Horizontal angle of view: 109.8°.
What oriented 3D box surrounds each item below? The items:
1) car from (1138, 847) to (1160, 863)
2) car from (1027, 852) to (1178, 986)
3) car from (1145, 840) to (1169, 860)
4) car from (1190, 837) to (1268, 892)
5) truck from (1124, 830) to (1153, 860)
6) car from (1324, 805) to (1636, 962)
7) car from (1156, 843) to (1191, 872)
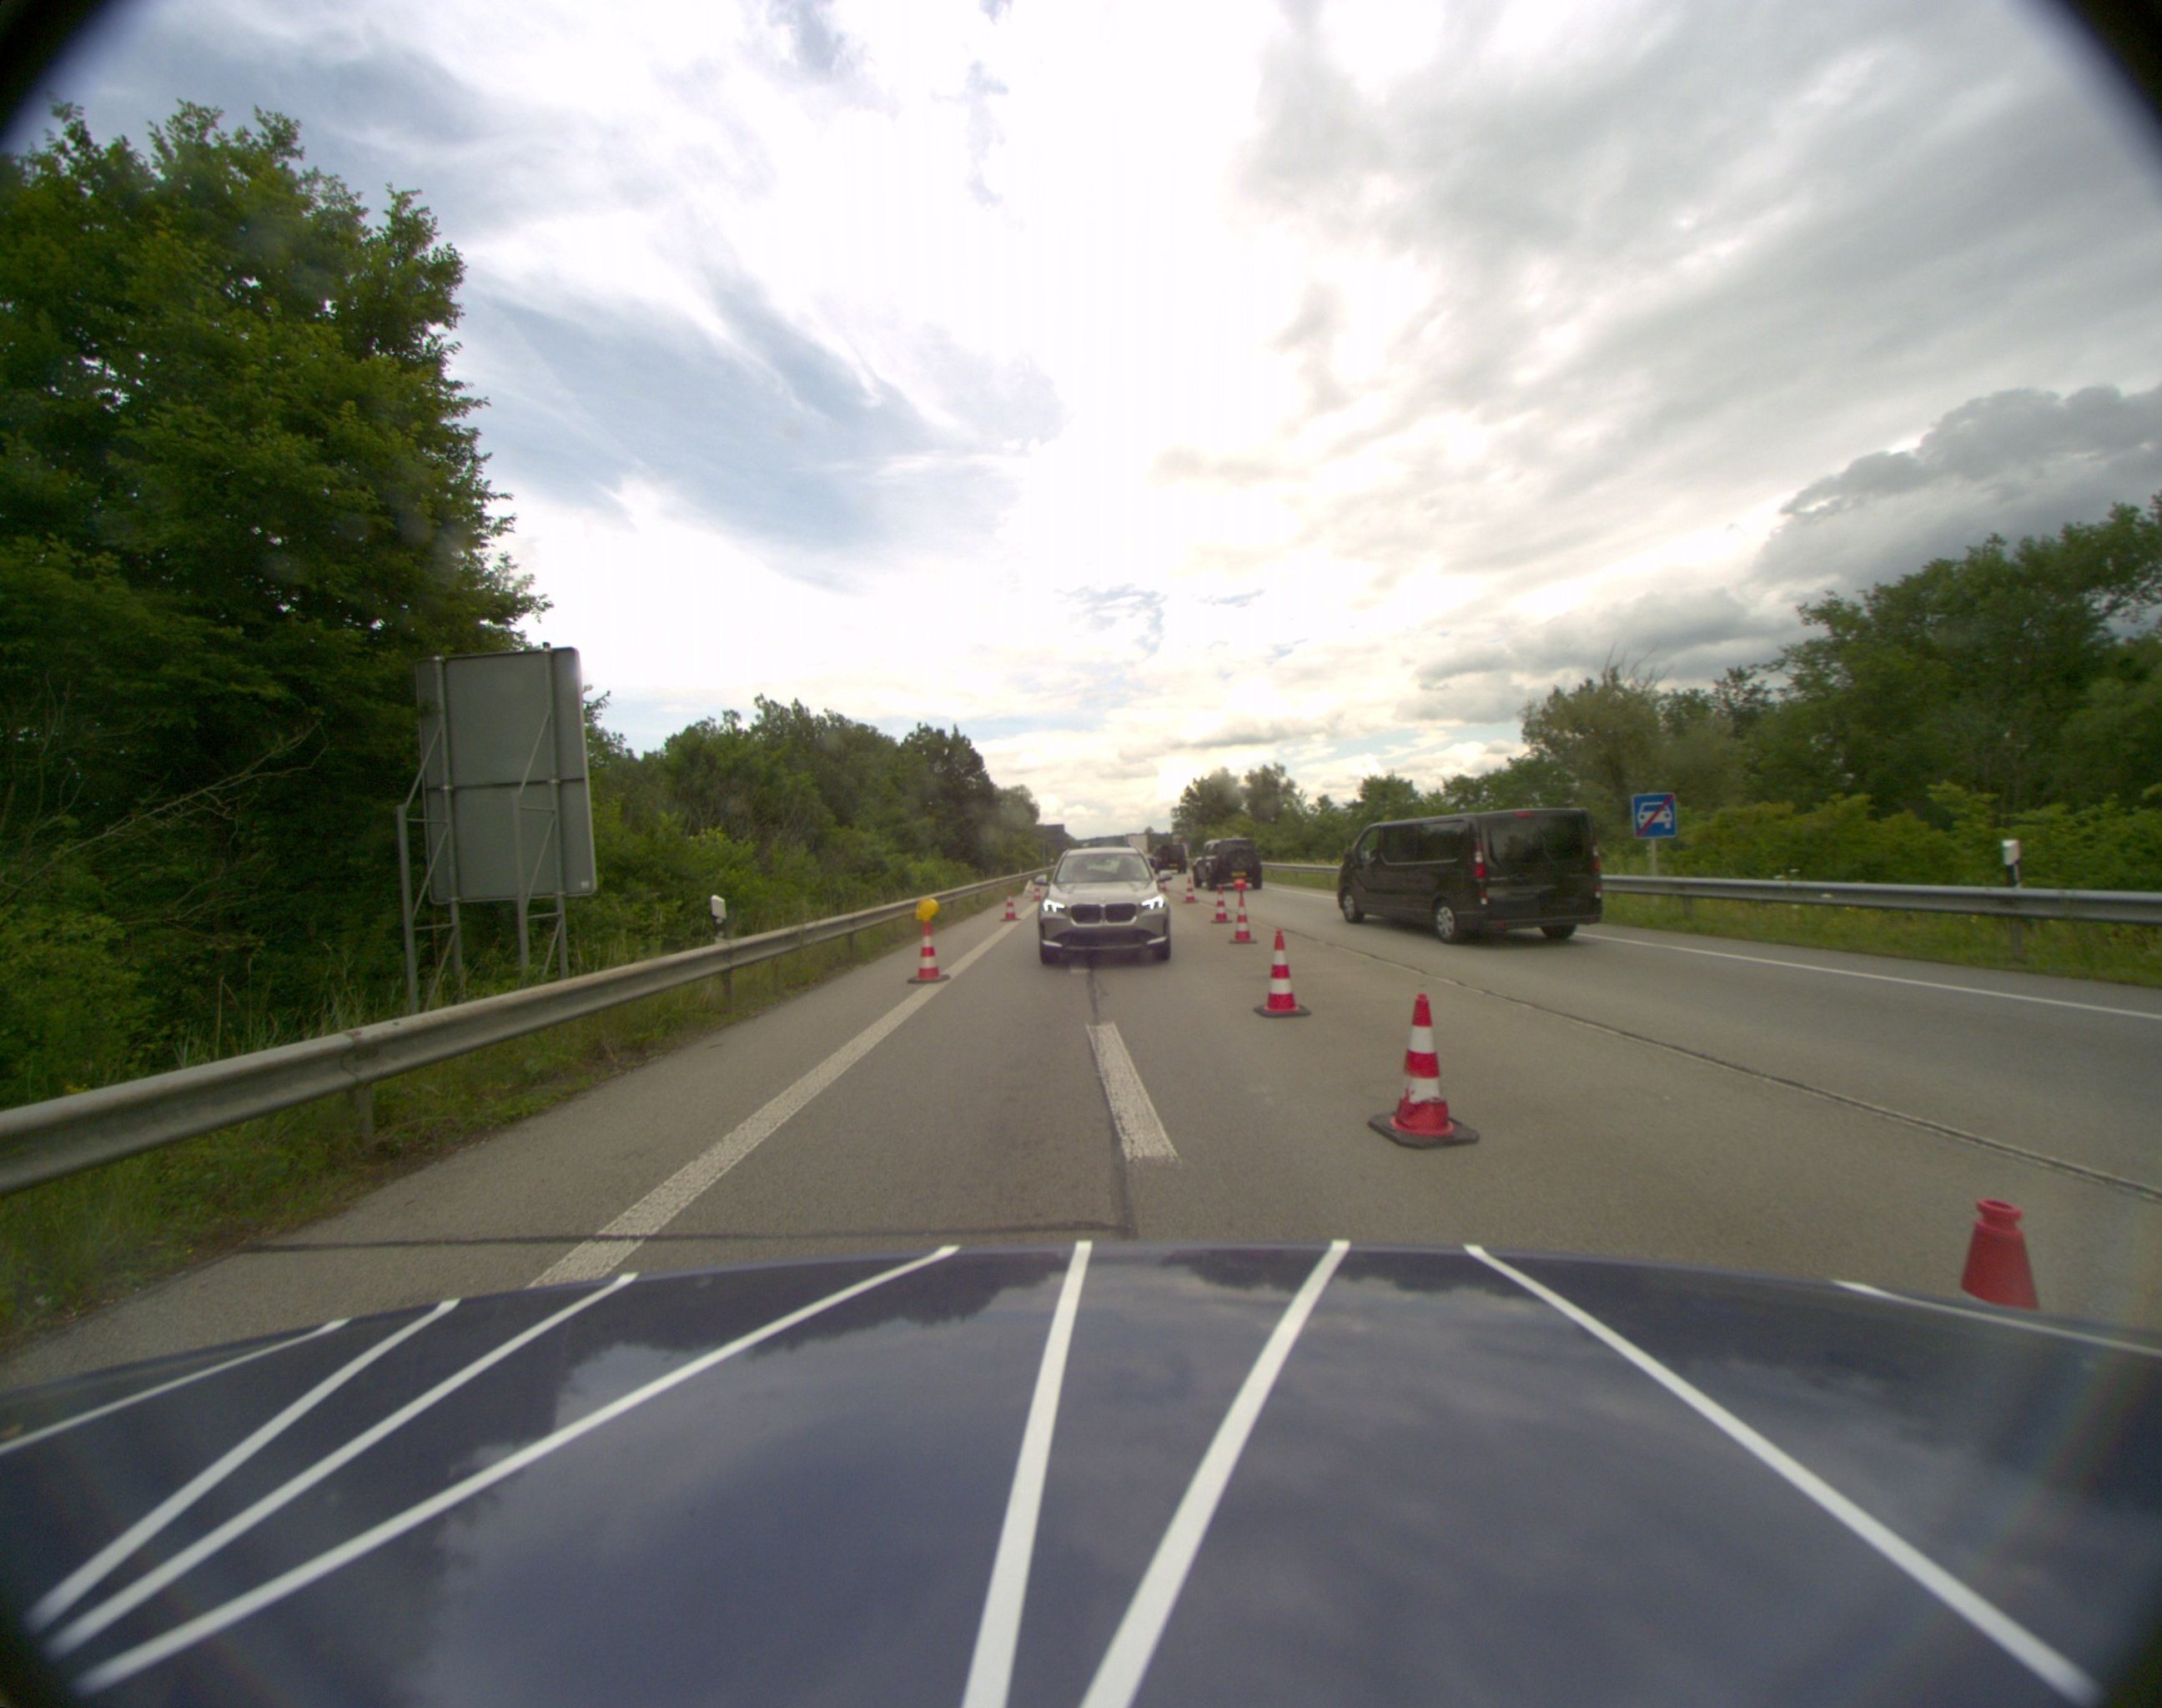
[{"bbox_3d":[7.014,0.086,78.307,1.929,1.597,4.532,-2,0,2],"label":"car"},{"bbox_3d":[0.315,0.804,11.673,1.817,1.598,4.433,-2,0,1],"label":"car"},{"bbox_3d":[6.717,-0.360,67.558,1.929,1.597,4.533,-2,0,3],"label":"car"},{"bbox_3d":[5.603,0.370,29.321,1.972,1.873,4.531,-2,0,-2],"label":"car"},{"bbox_3d":[7.605,-1.135,101.828,3.114,3.682,9.543,-2,0,1],"label":"truck"},{"bbox_3d":[6.083,0.379,12.581,2.035,1.976,5.313,-2,0,-4],"label":"car"},{"bbox_3d":[6.290,0.240,52.209,1.929,1.820,4.532,-2,0,2],"label":"car"}]
